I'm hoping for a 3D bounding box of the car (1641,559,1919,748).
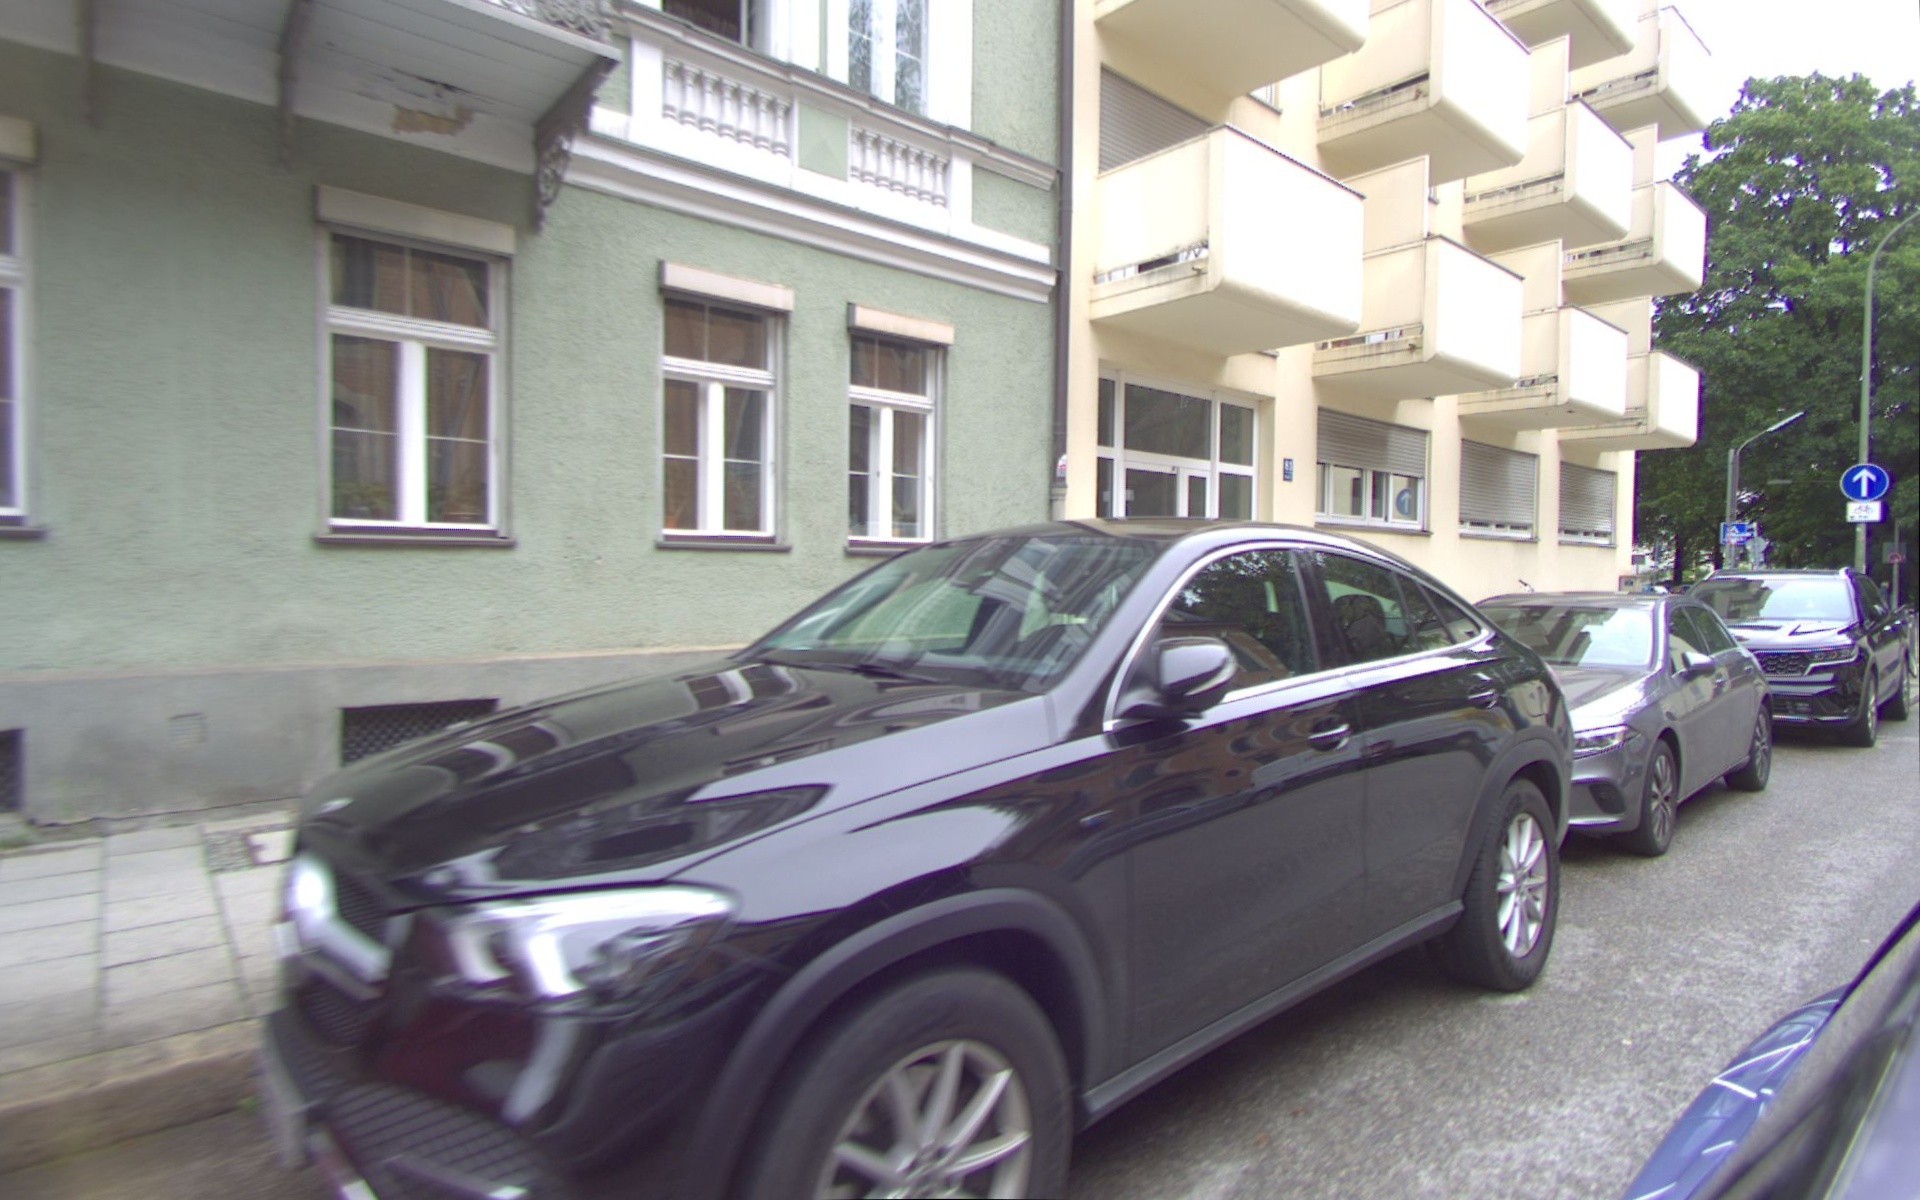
[{"bbox_3d":[8.918,0.421,10.804,4.190,1.637,1.770,-1,1,-42],"label":"car"}]

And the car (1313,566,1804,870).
[{"bbox_3d":[4.399,0.545,7.133,4.262,1.485,1.752,-1,3,-42],"label":"car"}]

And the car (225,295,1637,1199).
[{"bbox_3d":[0.444,0.447,3.413,4.616,1.731,1.860,-1,3,-41],"label":"car"}]
